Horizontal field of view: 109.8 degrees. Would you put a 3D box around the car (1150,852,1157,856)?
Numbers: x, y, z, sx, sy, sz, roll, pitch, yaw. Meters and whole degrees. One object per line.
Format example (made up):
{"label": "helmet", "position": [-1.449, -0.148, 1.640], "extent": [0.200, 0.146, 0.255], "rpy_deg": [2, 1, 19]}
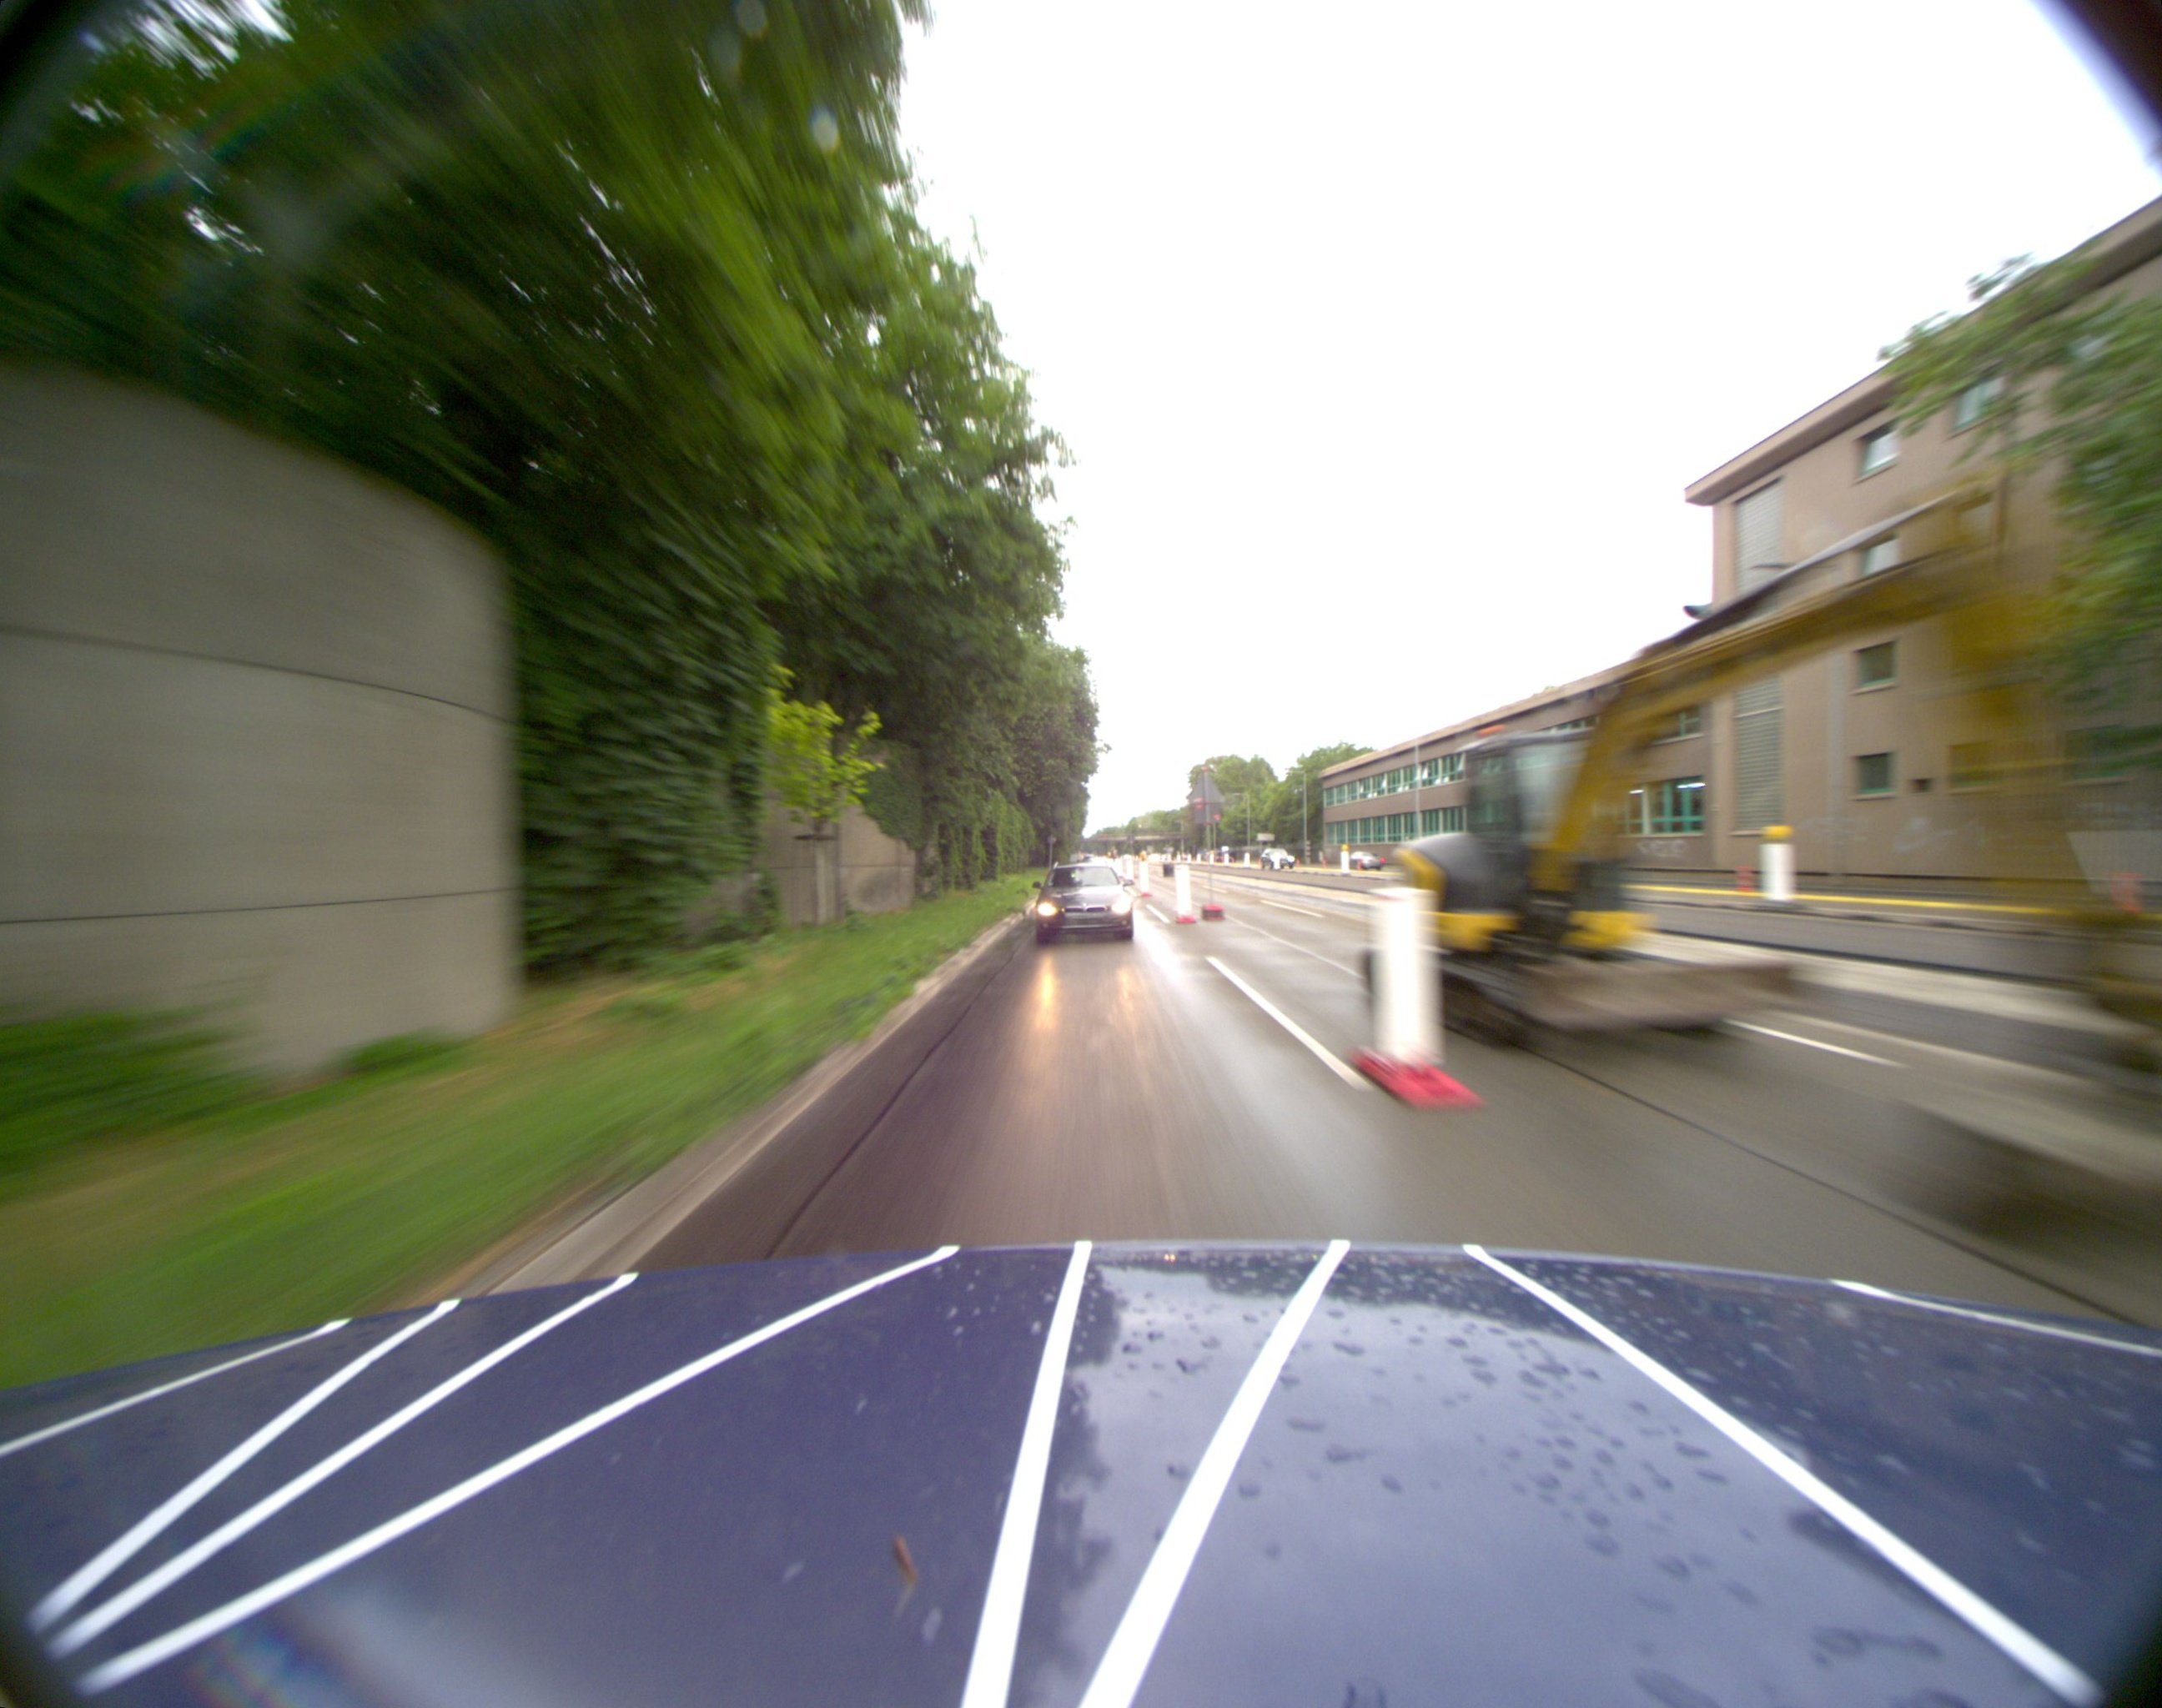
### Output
{"label": "car", "position": [24.188, -0.080, 254.183], "extent": [1.999, 1.421, 4.265], "rpy_deg": [-2, 0, 0]}

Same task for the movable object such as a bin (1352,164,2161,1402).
{"label": "movable object such as a bin", "position": [3.884, -0.227, 5.045], "extent": [1.998, 3.348, 5.981], "rpy_deg": [-2, 1, 0]}

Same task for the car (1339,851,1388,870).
{"label": "car", "position": [21.531, 0.473, 58.118], "extent": [1.998, 1.340, 4.791], "rpy_deg": [-2, 1, 1]}

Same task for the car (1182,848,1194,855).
{"label": "car", "position": [24.246, -0.614, 172.266], "extent": [1.998, 1.577, 4.179], "rpy_deg": [-2, 1, 1]}

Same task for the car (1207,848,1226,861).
{"label": "car", "position": [20.166, 0.035, 113.581], "extent": [1.998, 1.770, 4.954], "rpy_deg": [-2, 1, 1]}

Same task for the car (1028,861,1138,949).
{"label": "car", "position": [0.018, 0.898, 15.088], "extent": [1.838, 1.397, 3.999], "rpy_deg": [-2, 1, -1]}

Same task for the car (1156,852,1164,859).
{"label": "car", "position": [21.310, 0.521, 205.066], "extent": [1.993, 1.758, 4.675], "rpy_deg": [-2, 1, 2]}

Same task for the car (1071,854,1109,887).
{"label": "car", "position": [0.499, 0.904, 43.237], "extent": [1.998, 1.650, 4.229], "rpy_deg": [-2, 1, 1]}
